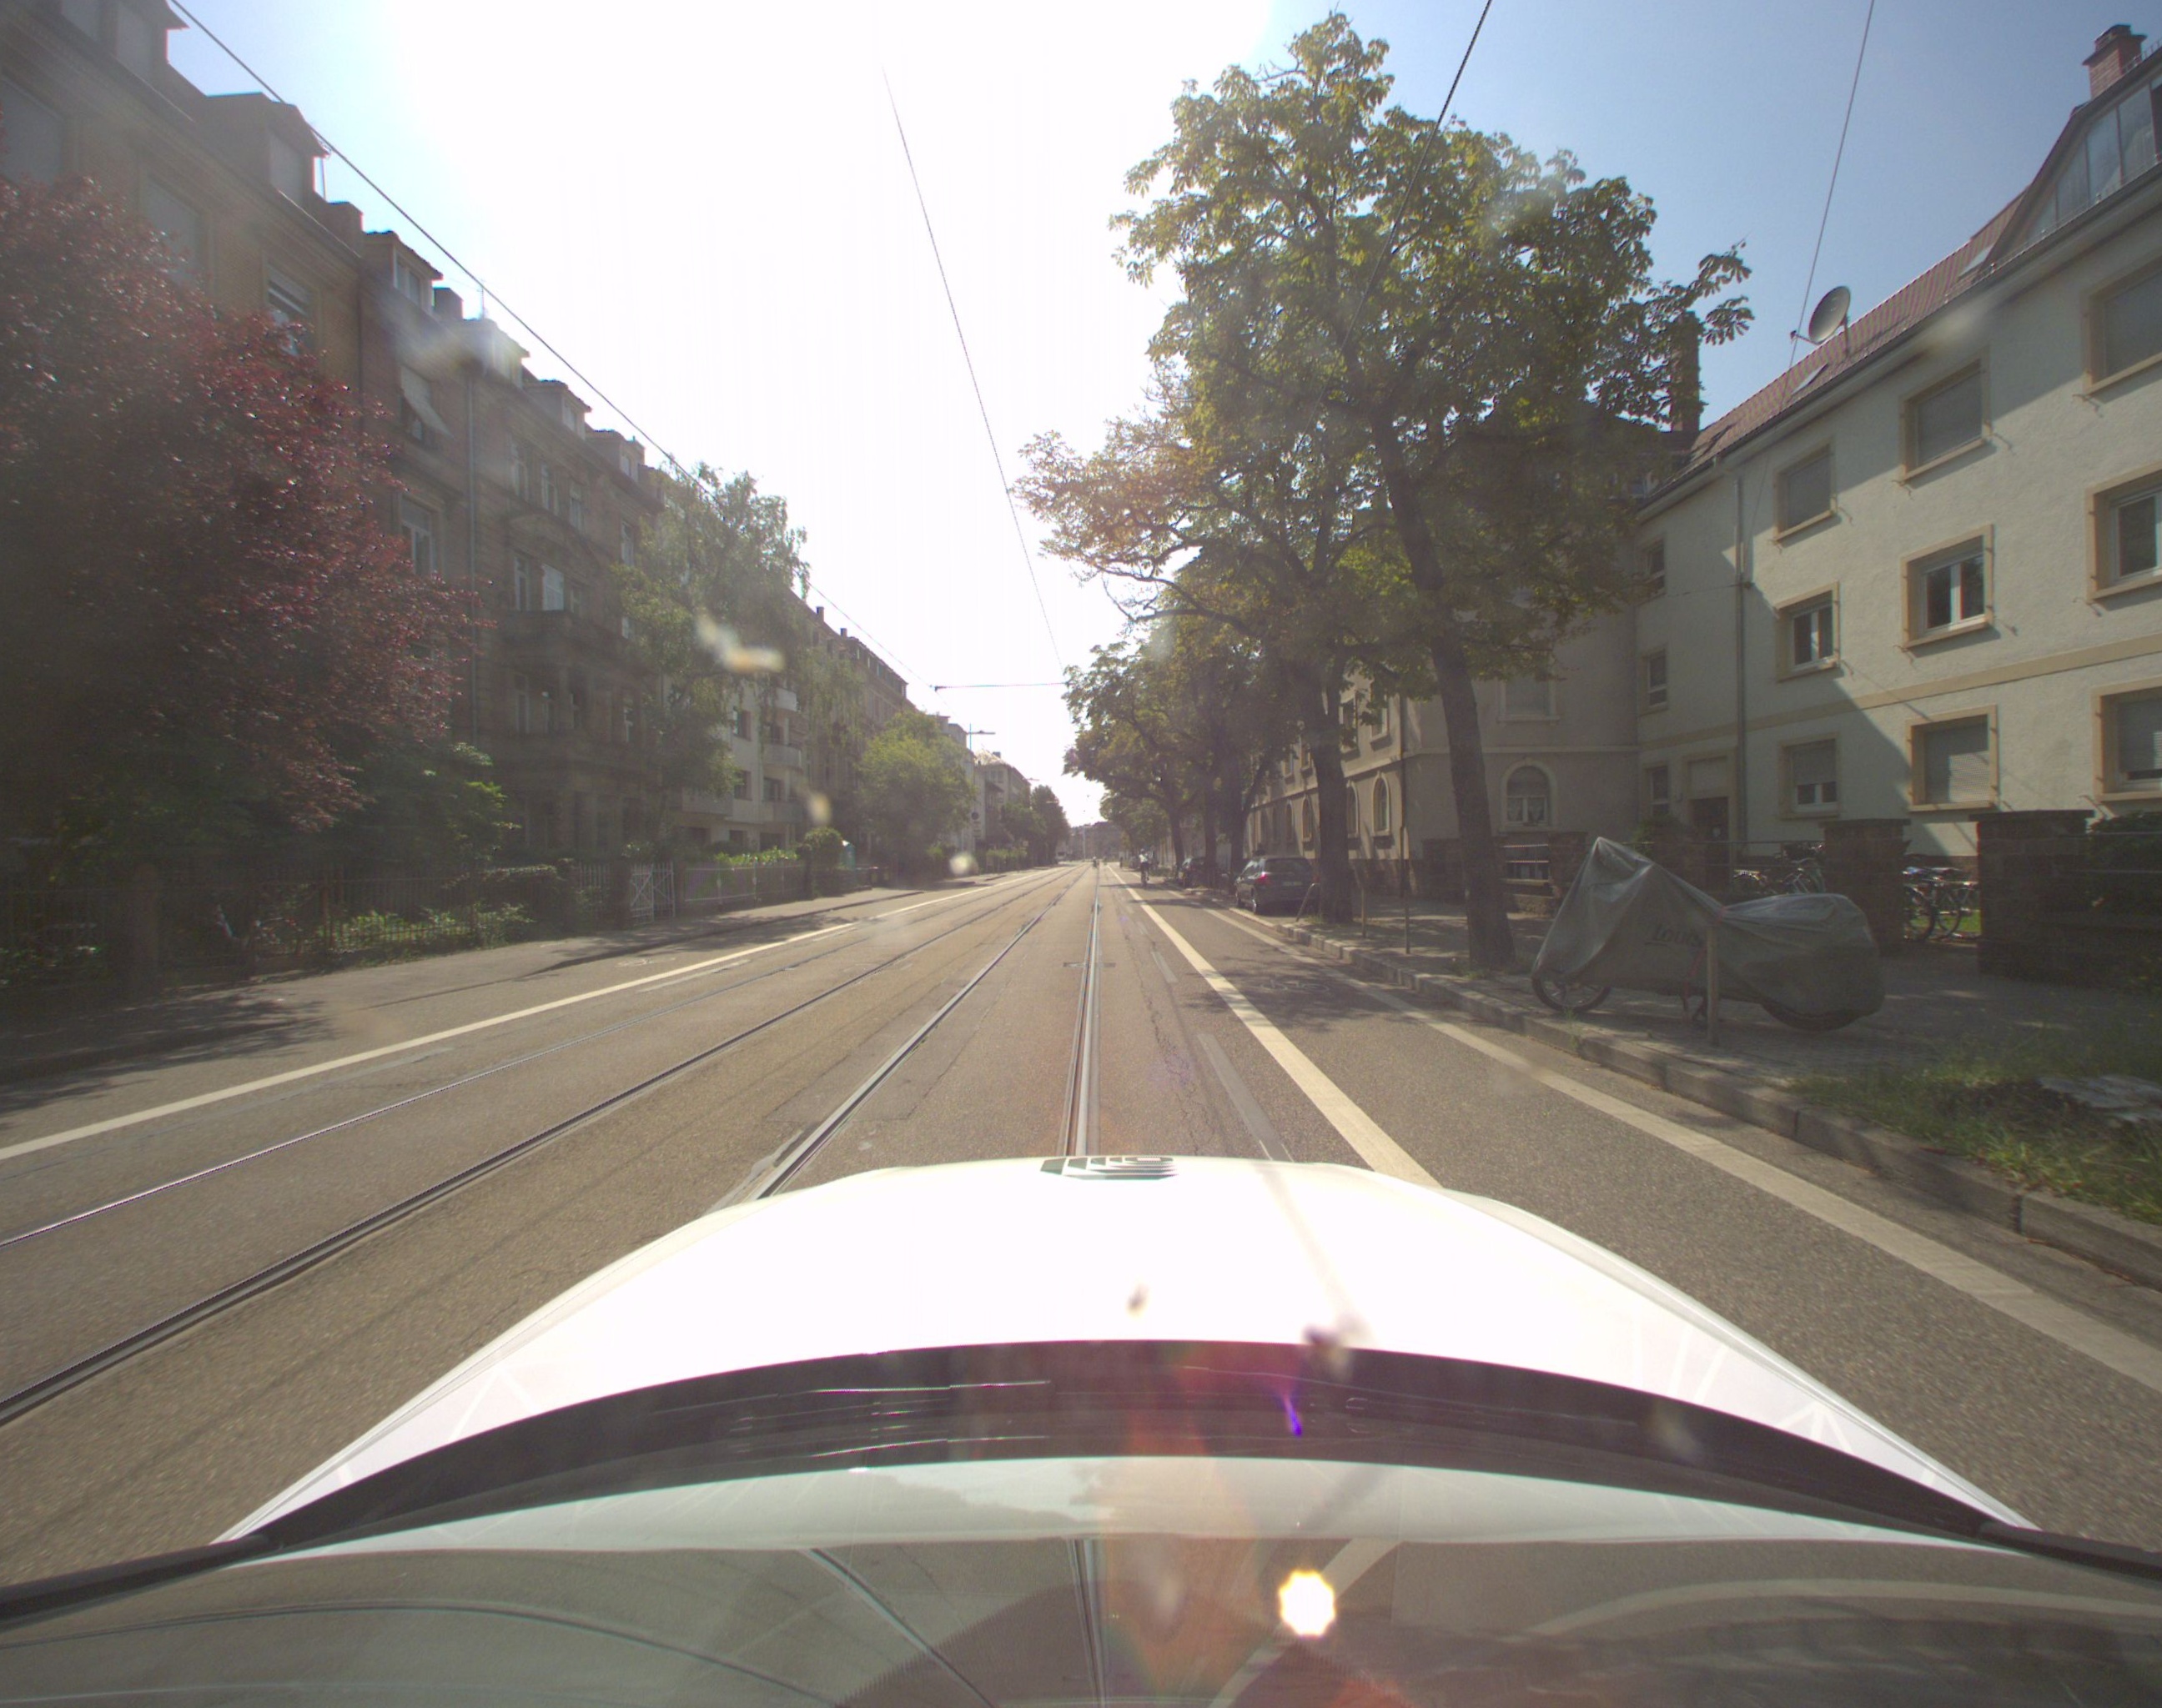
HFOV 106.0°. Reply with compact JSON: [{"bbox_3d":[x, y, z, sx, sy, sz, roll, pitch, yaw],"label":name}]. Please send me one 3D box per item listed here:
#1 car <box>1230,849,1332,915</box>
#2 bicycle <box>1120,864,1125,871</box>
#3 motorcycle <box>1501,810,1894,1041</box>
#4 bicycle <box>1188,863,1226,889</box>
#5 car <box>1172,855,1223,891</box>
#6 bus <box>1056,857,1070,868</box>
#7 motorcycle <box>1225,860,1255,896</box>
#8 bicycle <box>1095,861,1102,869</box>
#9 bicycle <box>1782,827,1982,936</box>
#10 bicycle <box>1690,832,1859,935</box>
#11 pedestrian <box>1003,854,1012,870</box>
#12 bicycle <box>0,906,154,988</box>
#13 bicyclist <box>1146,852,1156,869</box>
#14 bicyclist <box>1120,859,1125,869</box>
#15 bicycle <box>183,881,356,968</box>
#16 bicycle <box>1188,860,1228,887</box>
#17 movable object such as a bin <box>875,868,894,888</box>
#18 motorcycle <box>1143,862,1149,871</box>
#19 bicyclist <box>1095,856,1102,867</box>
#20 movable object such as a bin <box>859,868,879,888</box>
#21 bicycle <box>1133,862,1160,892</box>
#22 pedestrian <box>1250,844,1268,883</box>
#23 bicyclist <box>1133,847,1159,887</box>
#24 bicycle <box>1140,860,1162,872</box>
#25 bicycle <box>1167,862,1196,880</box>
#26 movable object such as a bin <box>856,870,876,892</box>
[{"bbox_3d":[5.362,0.695,22.399,1.834,1.532,4.116,-2,1,1],"label":"car"},{"bbox_3d":[5.298,1.715,103.150,0.585,0.939,2.174,-1,-1,4],"label":"bicycle"},{"bbox_3d":[4.845,0.536,6.585,2.316,1.540,0.975,-4,-3,42],"label":"motorcycle"},{"bbox_3d":[5.491,0.943,35.461,1.597,1.104,0.399,-1,-1,7],"label":"bicycle"},{"bbox_3d":[5.623,0.880,39.750,1.834,1.532,4.780,-3,0,1],"label":"car"},{"bbox_3d":[-5.635,2.604,257.804,3.722,3.364,15.120,-1,-1,1],"label":"bus"},{"bbox_3d":[5.957,0.878,30.624,0.708,1.255,2.176,-1,0,0],"label":"motorcycle"},{"bbox_3d":[2.223,1.366,103.324,0.755,0.991,2.300,-1,-1,4],"label":"bicycle"},{"bbox_3d":[11.143,0.355,11.480,0.591,1.358,2.371,-1,-1,4],"label":"bicycle"},{"bbox_3d":[10.158,0.400,12.070,0.591,1.358,2.371,-1,-1,4],"label":"bicycle"},{"bbox_3d":[-8.268,0.943,91.685,0.777,1.756,1.041,-2,-1,2],"label":"pedestrian"},{"bbox_3d":[-12.901,1.135,10.032,1.818,0.911,0.712,0,-1,-19],"label":"bicycle"},{"bbox_3d":[6.693,0.636,77.761,0.819,1.643,0.787,-1,-1,7],"label":"bicyclist"},{"bbox_3d":[5.280,1.294,103.080,0.576,1.279,0.472,-1,-1,3],"label":"bicyclist"},{"bbox_3d":[-11.625,0.994,11.704,1.805,1.182,0.717,0,-1,3],"label":"bicycle"},{"bbox_3d":[5.586,0.873,35.848,1.713,1.149,0.377,-1,-1,7],"label":"bicycle"},{"bbox_3d":[-10.630,1.297,43.986,0.783,1.076,0.804,0,-1,4],"label":"movable object such as a bin"},{"bbox_3d":[7.360,1.420,91.993,0.547,1.068,2.331,-1,-1,2],"label":"motorcycle"},{"bbox_3d":[2.190,0.923,103.150,0.755,1.391,0.780,-1,-1,4],"label":"bicyclist"},{"bbox_3d":[-11.442,1.275,43.946,0.783,1.076,0.804,0,-1,4],"label":"movable object such as a bin"},{"bbox_3d":[3.005,1.037,37.704,1.143,1.269,2.714,-1,0,3],"label":"bicycle"},{"bbox_3d":[8.648,0.470,39.558,0.703,1.892,0.714,-1,-1,2],"label":"pedestrian"},{"bbox_3d":[2.993,0.593,37.672,1.121,1.837,0.956,-1,-1,2],"label":"bicyclist"},{"bbox_3d":[6.710,1.134,77.763,2.024,1.151,0.787,-1,0,7],"label":"bicycle"},{"bbox_3d":[6.140,1.042,49.857,1.706,1.032,0.567,-1,-1,2],"label":"bicycle"},{"bbox_3d":[-10.656,1.333,40.439,0.784,1.076,0.754,0,-1,-1],"label":"movable object such as a bin"}]
